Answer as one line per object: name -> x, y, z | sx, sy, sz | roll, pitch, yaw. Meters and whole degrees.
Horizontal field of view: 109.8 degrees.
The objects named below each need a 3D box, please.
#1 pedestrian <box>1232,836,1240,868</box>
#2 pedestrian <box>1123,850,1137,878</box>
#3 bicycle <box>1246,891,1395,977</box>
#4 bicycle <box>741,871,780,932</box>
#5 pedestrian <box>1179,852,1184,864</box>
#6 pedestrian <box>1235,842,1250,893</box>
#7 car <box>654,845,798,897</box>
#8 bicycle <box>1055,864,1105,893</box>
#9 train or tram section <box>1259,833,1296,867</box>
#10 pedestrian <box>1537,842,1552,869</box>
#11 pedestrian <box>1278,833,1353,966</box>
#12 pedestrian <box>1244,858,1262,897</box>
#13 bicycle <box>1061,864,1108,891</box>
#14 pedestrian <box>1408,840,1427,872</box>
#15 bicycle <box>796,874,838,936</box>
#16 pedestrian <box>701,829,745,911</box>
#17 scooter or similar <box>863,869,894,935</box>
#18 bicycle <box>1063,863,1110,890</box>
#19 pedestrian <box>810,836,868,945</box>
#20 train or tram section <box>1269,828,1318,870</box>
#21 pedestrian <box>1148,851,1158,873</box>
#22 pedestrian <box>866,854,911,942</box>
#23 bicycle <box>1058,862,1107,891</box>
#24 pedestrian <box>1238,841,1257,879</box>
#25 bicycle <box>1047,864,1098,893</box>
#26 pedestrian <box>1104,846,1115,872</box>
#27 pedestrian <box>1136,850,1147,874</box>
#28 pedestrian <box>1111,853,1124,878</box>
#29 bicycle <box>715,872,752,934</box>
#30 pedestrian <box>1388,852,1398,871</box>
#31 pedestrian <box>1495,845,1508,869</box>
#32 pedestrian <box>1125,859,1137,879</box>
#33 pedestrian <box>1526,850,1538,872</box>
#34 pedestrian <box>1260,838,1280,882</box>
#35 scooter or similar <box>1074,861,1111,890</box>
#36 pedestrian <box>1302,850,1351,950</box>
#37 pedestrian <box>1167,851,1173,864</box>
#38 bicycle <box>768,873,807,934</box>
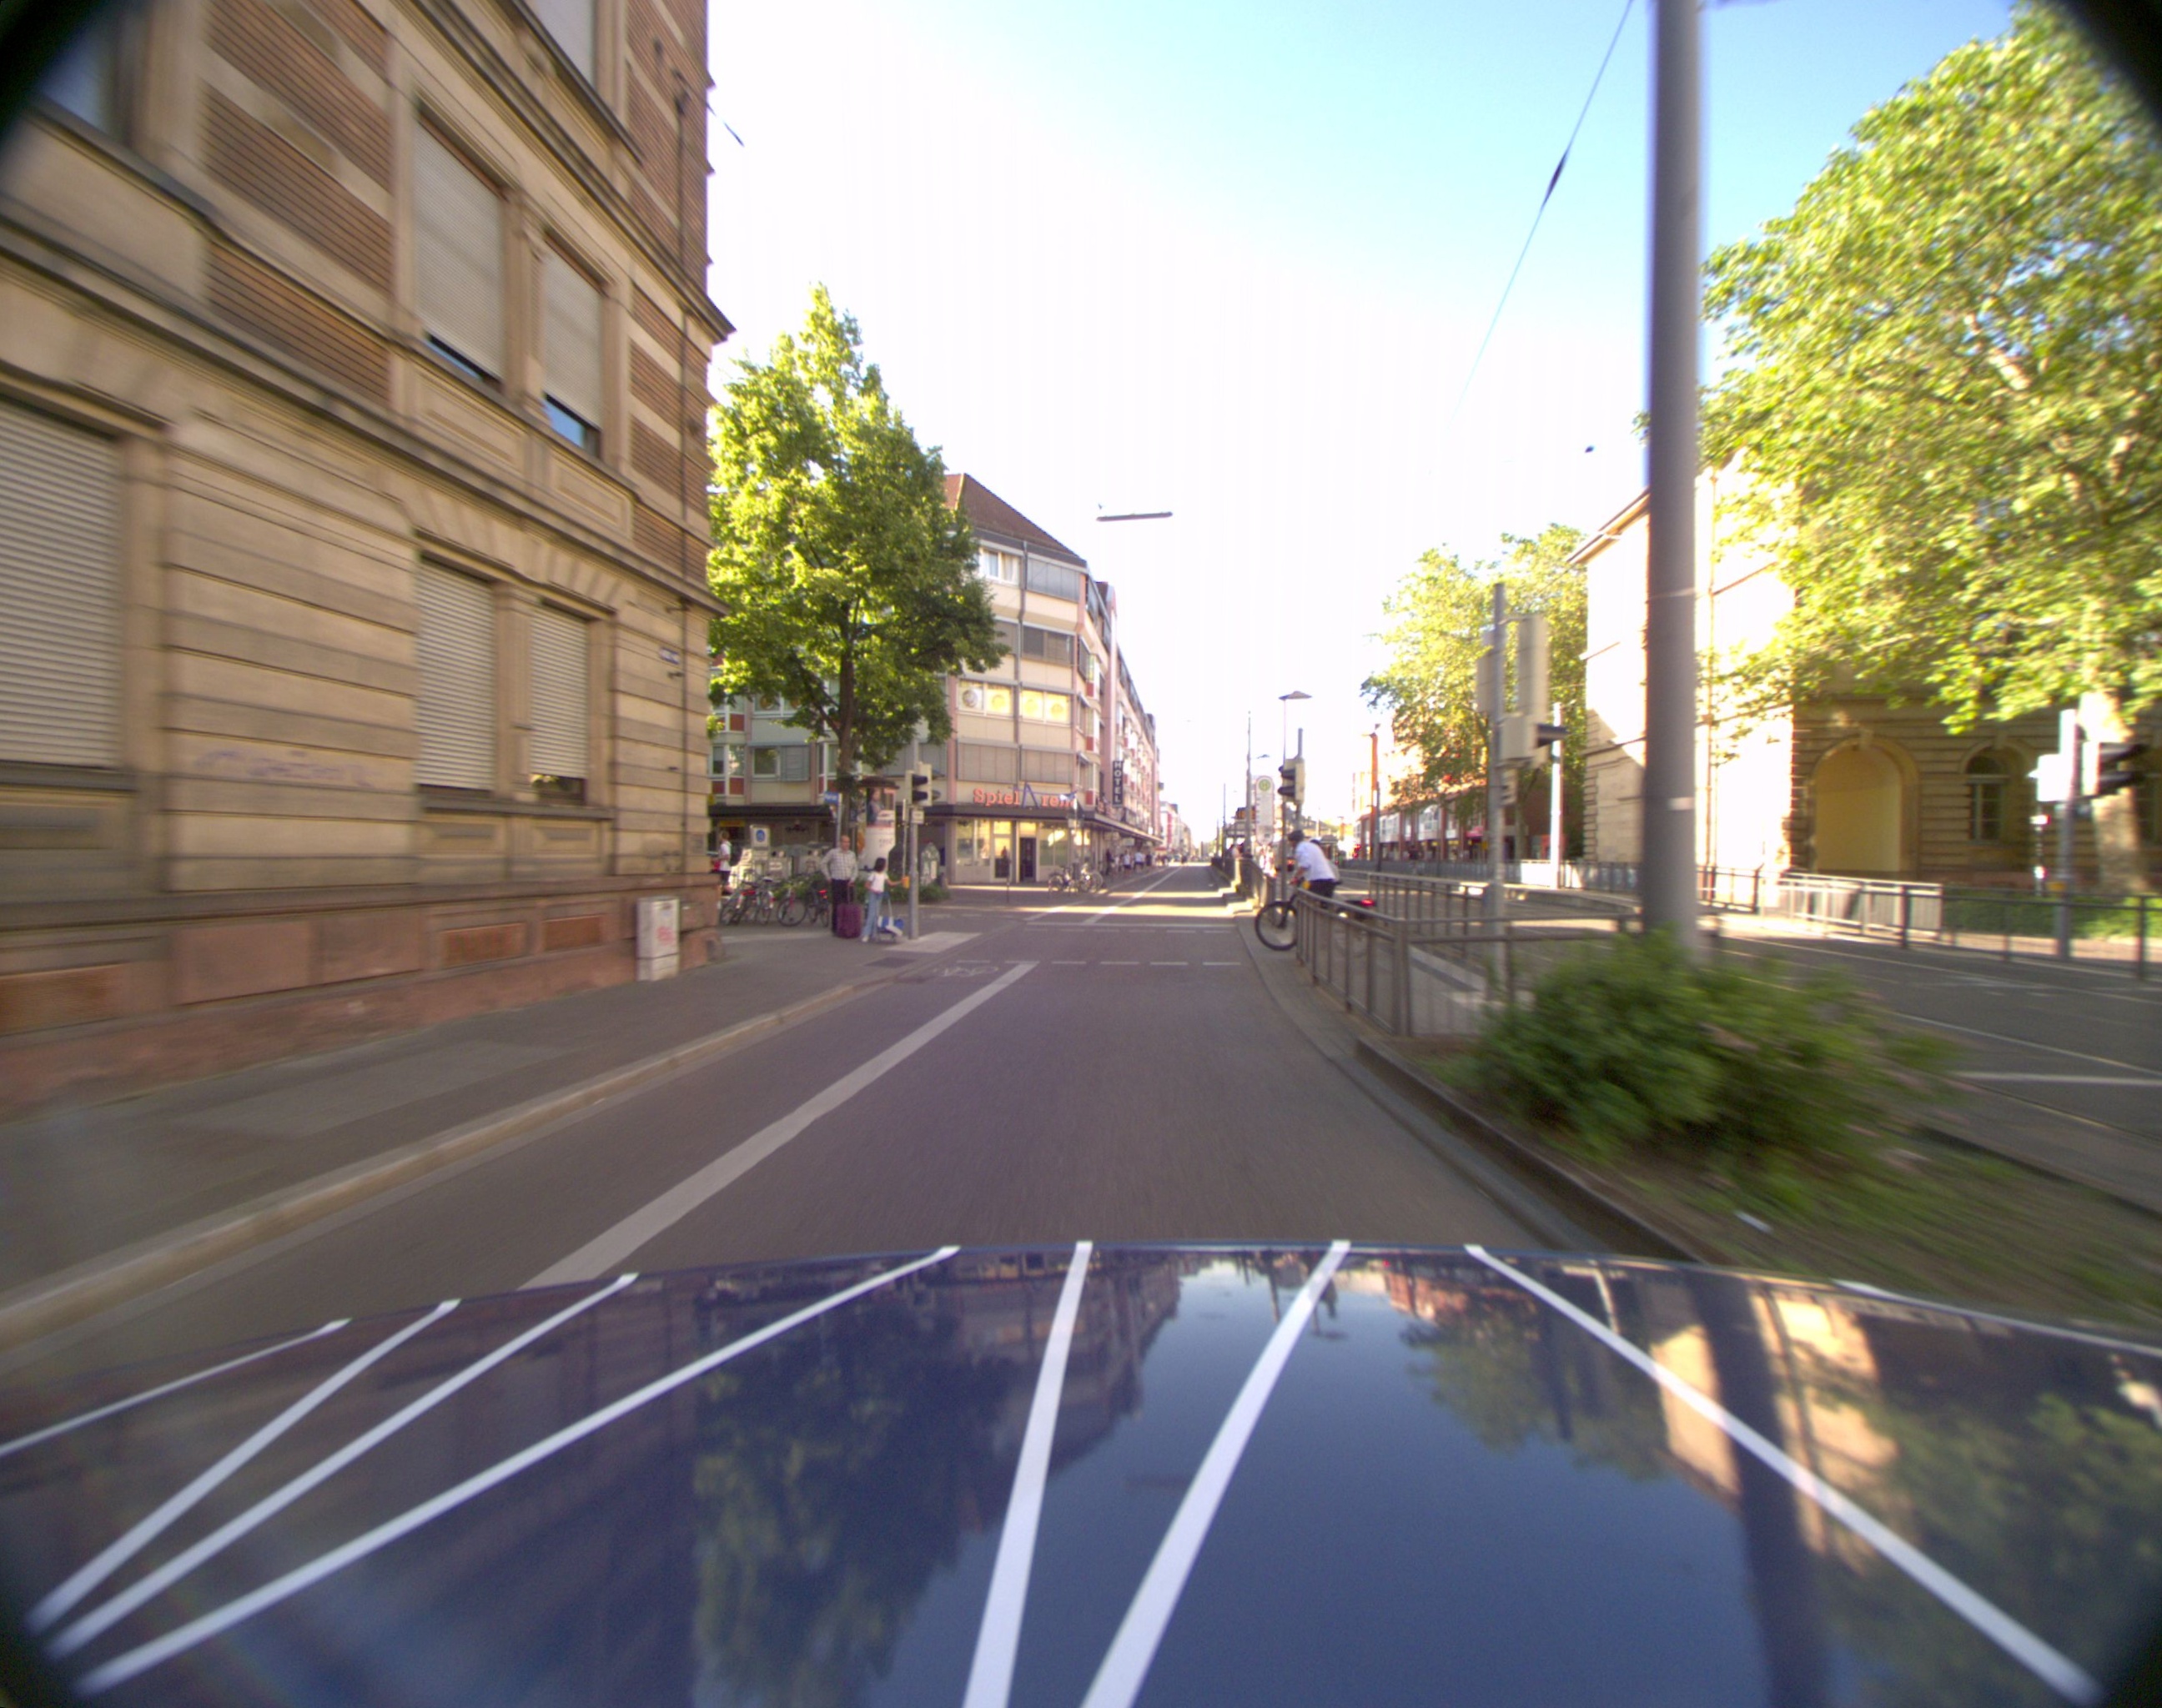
pedestrian -> 8.114, -0.110, 39.737 | 0.352, 1.659, 0.529 | 0, 1, 8
pedestrian -> 3.047, 0.629, 46.863 | 0.745, 1.717, 0.815 | -1, 1, 10
bicycle -> 3.332, 1.086, 10.742 | 0.600, 1.087, 1.940 | -1, -2, -41
bicycle -> -6.425, 0.916, 15.213 | 0.445, 1.108, 1.810 | 0, 1, -32
pedestrian -> 14.040, 0.567, 106.249 | 0.708, 1.604, 0.495 | 0, 1, 9
pedestrian -> 6.836, 0.559, 32.207 | 0.538, 2.108, 0.808 | 0, 1, 9
car -> -11.758, 0.485, 25.477 | 1.995, 1.593, 4.007 | 0, 1, 25
bicycle -> -0.030, 0.991, 30.743 | 1.949, 1.100, 0.564 | 1, 1, 7
train or tram section -> 23.234, -0.437, 90.390 | 2.979, 3.623, 13.953 | -1, 0, 9
pedestrian -> 32.488, 0.105, 53.250 | 0.707, 1.871, 0.627 | 0, 1, 13
pedestrian -> 3.346, 0.613, 10.830 | 0.944, 1.811, 0.593 | -2, 1, -43
pedestrian -> 5.911, 0.790, 26.080 | 0.480, 1.321, 0.355 | 1, 1, 39
bicycle -> 0.147, 0.972, 32.149 | 1.949, 1.100, 0.564 | 1, 1, 7
pedestrian -> 17.828, 0.104, 40.270 | 0.697, 1.658, 1.034 | 0, 1, 10
bicycle -> -5.316, 0.983, 15.240 | 0.445, 1.108, 1.810 | 0, 1, -31
pedestrian -> -8.878, 0.388, 18.858 | 0.944, 1.973, 0.717 | 0, 1, -22
scooter or similar -> -4.173, 0.958, 15.726 | 0.391, 1.281, 1.521 | 0, 0, -6
bicycle -> 0.232, 0.962, 32.757 | 1.949, 1.100, 0.564 | 1, 1, 7
pedestrian -> -4.192, 0.609, 13.137 | 0.851, 1.797, 0.874 | 1, 0, -25
train or tram section -> 20.762, -0.395, 75.278 | 2.979, 3.623, 16.499 | -1, -1, 10
pedestrian -> 5.782, 0.672, 61.167 | 0.668, 1.719, 0.811 | 3, 1, 8
pedestrian -> -3.187, 0.712, 12.619 | 0.580, 1.406, 0.576 | -2, 0, -1
bicycle -> 0.062, 0.927, 31.498 | 1.949, 1.159, 0.628 | 1, 1, 7
pedestrian -> 8.146, 0.282, 37.270 | 0.772, 1.820, 0.804 | -1, 1, 5
bicycle -> -0.328, 0.961, 30.127 | 1.949, 1.100, 0.564 | 1, 1, 7
pedestrian -> 1.923, 0.347, 51.596 | 0.630, 1.759, 0.501 | 1, 1, 10
pedestrian -> 4.811, 0.641, 60.633 | 0.707, 1.810, 0.764 | 3, 1, 9
pedestrian -> 2.254, 0.719, 47.092 | 0.637, 1.475, 0.655 | 3, 2, 8
bicycle -> -6.921, 0.933, 15.093 | 0.445, 1.108, 1.810 | 0, 1, -32
pedestrian -> 32.093, 0.800, 78.091 | 0.791, 1.905, 0.666 | 0, 1, 8
pedestrian -> 32.277, 0.224, 58.281 | 0.688, 1.795, 0.649 | 0, 1, 10
pedestrian -> 3.797, 1.125, 57.456 | 0.739, 1.464, 0.707 | 3, 1, 10
pedestrian -> 31.774, 0.500, 53.540 | 0.584, 1.521, 0.474 | 0, 1, 10
pedestrian -> 7.488, 0.224, 30.135 | 0.764, 1.724, 0.590 | 0, 1, 16
scooter or similar -> 0.515, 0.935, 33.376 | 1.481, 1.222, 0.592 | 2, 1, 9
pedestrian -> 4.056, 0.743, 12.594 | 0.518, 1.581, 0.667 | -3, 1, 0
pedestrian -> 11.349, 0.439, 97.119 | 0.667, 1.512, 0.789 | 3, 1, 3
bicycle -> -5.949, 0.972, 15.353 | 0.445, 1.108, 1.810 | 0, 1, -31
